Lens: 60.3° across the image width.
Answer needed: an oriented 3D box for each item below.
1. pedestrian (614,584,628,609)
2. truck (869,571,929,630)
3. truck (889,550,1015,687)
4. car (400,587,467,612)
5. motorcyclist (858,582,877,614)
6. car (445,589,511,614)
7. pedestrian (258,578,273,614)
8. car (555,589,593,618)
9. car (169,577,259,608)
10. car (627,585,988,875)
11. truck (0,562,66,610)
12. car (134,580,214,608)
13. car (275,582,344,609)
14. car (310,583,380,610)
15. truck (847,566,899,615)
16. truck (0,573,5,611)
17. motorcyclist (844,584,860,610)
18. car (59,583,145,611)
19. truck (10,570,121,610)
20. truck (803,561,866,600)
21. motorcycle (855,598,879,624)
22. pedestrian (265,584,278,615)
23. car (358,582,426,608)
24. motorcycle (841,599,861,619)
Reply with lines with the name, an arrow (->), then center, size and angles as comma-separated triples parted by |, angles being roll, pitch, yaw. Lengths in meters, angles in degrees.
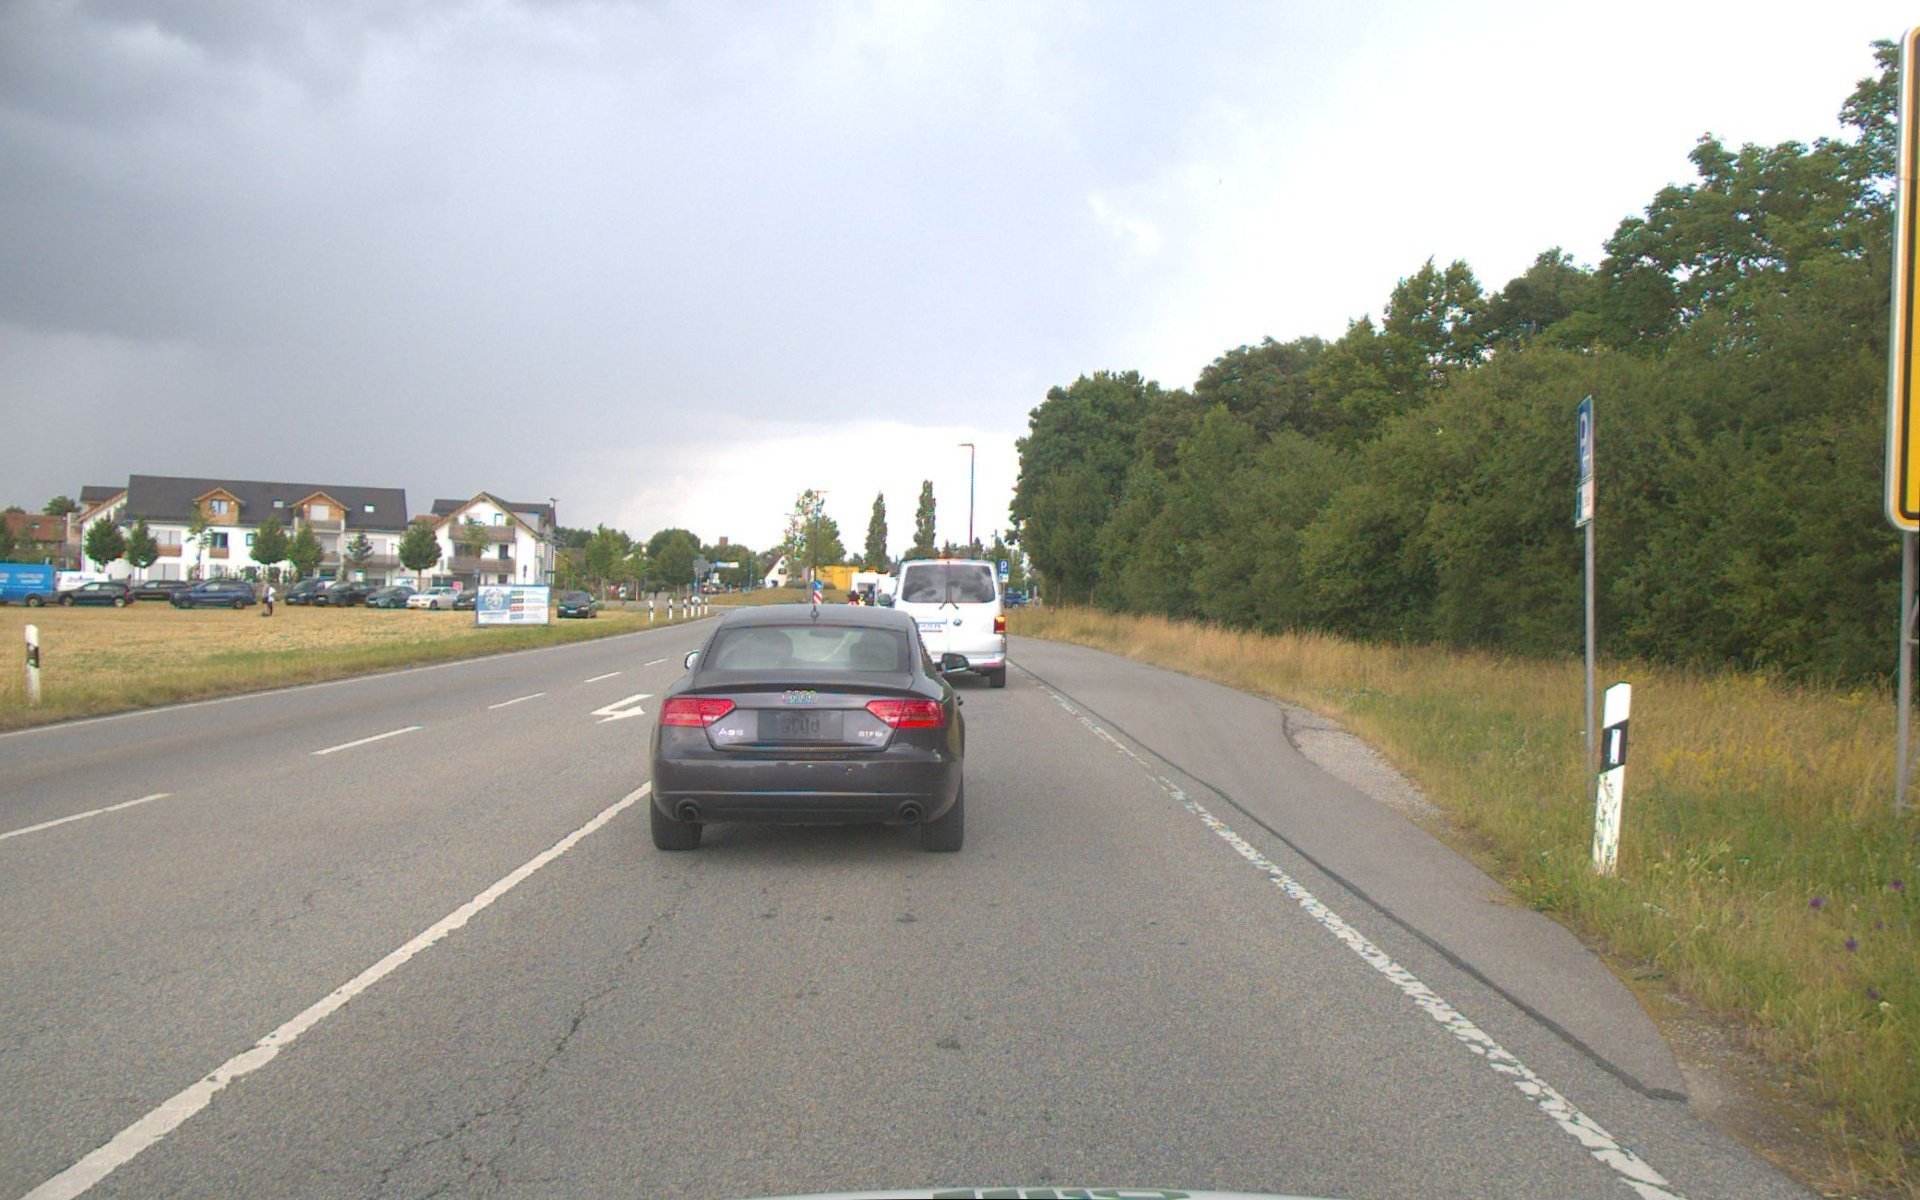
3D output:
pedestrian -> -22.636, -0.225, 110.413 | 0.686, 1.613, 0.658 | 1, 0, 15
truck -> -2.243, 0.017, 61.903 | 2.149, 2.049, 5.083 | 1, 0, -1
truck -> -0.169, 0.267, 27.125 | 1.865, 2.033, 4.627 | 1, 0, -1
car -> -32.978, -0.033, 103.770 | 1.951, 1.471, 4.214 | 1, 0, 17
motorcyclist -> -4.083, -0.087, 72.847 | 0.756, 1.407, 0.820 | 1, 0, 0
car -> -30.130, 0.103, 103.453 | 1.951, 1.471, 4.214 | 1, 0, 17
pedestrian -> -35.431, -0.223, 84.406 | 0.539, 1.817, 0.676 | 1, 0, -13
car -> -21.277, 0.163, 91.327 | 1.959, 1.467, 3.988 | 1, 1, -12
car -> -43.465, -0.421, 96.481 | 4.649, 1.727, 1.987 | 1, 0, -22
car -> -0.847, 0.663, 10.571 | 1.837, 1.479, 4.175 | 0, 0, -2
truck -> -51.488, -0.769, 89.371 | 5.377, 2.489, 2.376 | 1, 0, -25
car -> -51.403, -0.385, 108.300 | 4.560, 1.727, 1.987 | 1, 0, -22
car -> -41.936, -0.288, 106.757 | 1.951, 1.657, 4.214 | 1, 0, 17
car -> -38.803, -0.238, 104.465 | 1.951, 1.657, 4.214 | 1, 0, 17
truck -> -5.291, -0.546, 99.677 | 2.577, 2.785, 5.856 | 2, 0, -8
truck -> -52.160, -0.440, 85.067 | 5.167, 1.954, 2.093 | 1, 0, -28
motorcyclist -> -5.775, -0.149, 88.122 | 0.771, 1.380, 0.852 | 1, 0, -8
car -> -48.786, -0.177, 94.116 | 4.097, 1.545, 1.987 | 1, 0, -22
truck -> -52.302, -0.591, 96.847 | 5.492, 2.235, 2.587 | 1, 0, -25
truck -> -12.293, -1.933, 160.941 | 3.523, 3.640, 9.901 | 2, 0, -19
motorcycle -> -4.086, 0.480, 73.007 | 0.901, 1.113, 2.189 | 1, 0, 0
pedestrian -> -35.492, -0.048, 85.265 | 0.581, 1.582, 0.622 | 1, 0, -20
car -> -35.693, -0.309, 104.102 | 1.951, 1.562, 4.214 | 1, 0, 17
motorcycle -> -5.813, 0.460, 88.318 | 0.926, 1.037, 2.280 | 1, 0, -7
